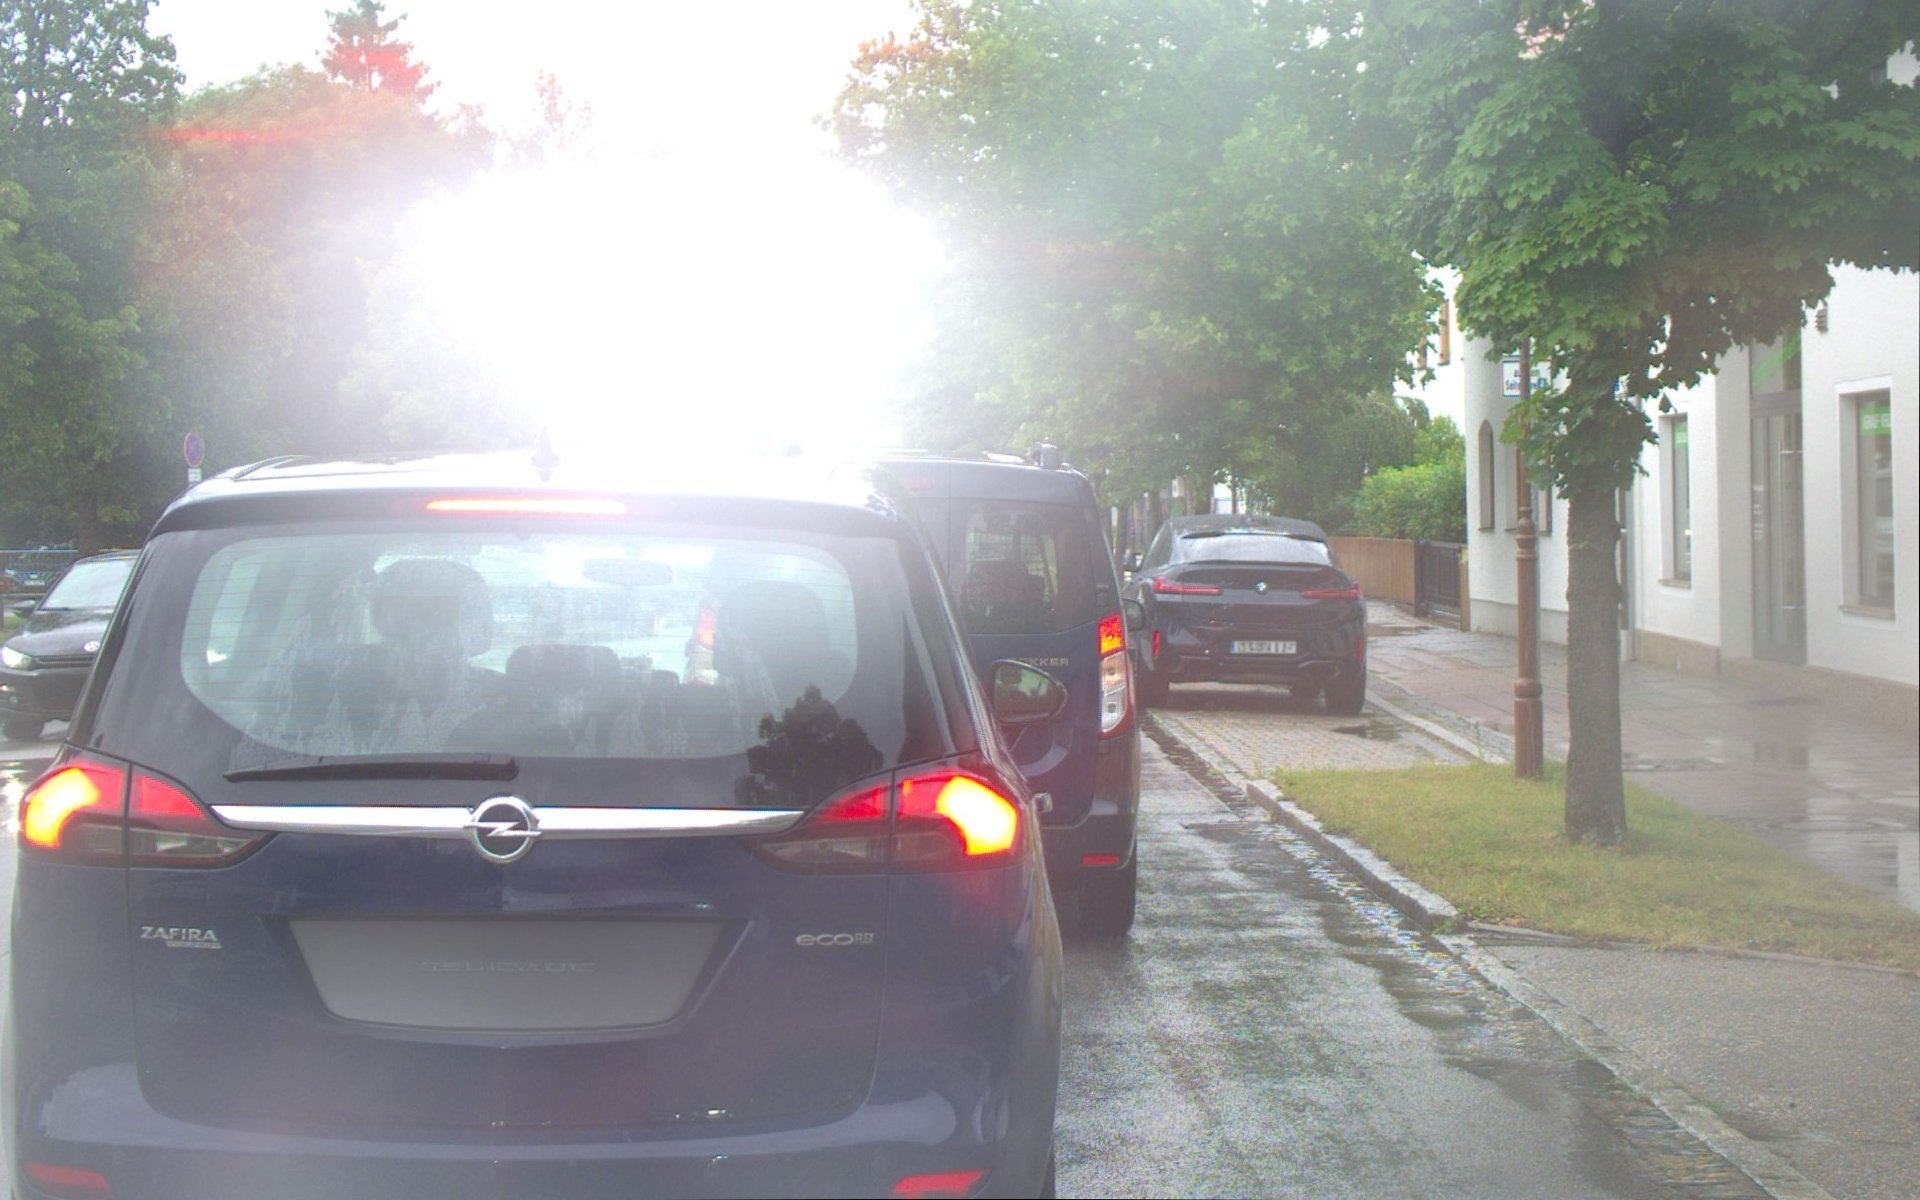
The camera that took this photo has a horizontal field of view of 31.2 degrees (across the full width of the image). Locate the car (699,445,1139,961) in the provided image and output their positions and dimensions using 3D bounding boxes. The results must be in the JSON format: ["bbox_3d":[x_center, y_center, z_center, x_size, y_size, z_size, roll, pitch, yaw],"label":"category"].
[{"bbox_3d":[-0.156,0.325,13.444,1.500,1.770,3.112,1,1,-1],"label":"car"}]

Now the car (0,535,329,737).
[{"bbox_3d":[-6.313,0.233,26.878,1.996,1.402,3.884,-2,1,0],"label":"car"}]

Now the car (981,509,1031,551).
[{"bbox_3d":[1.574,-2.398,118.198,1.630,1.373,3.623,1,1,-1],"label":"car"}]

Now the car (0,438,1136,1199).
[{"bbox_3d":[-0.642,0.524,7.053,1.768,1.599,3.663,1,1,-1],"label":"car"}]

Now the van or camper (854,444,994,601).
[{"bbox_3d":[-0.645,-1.388,61.529,2.360,2.656,5.372,-1,1,0],"label":"van or camper"}]

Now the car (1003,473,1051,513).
[{"bbox_3d":[2.474,-3.957,127.481,1.630,1.373,3.623,-2,1,-1],"label":"car"}]

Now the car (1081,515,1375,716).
[{"bbox_3d":[2.215,0.095,29.496,2.117,1.575,3.936,1,1,-1],"label":"car"}]

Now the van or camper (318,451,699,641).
[{"bbox_3d":[-6.871,-0.815,51.776,6.263,2.698,2.096,0,2,42],"label":"van or camper"}]
